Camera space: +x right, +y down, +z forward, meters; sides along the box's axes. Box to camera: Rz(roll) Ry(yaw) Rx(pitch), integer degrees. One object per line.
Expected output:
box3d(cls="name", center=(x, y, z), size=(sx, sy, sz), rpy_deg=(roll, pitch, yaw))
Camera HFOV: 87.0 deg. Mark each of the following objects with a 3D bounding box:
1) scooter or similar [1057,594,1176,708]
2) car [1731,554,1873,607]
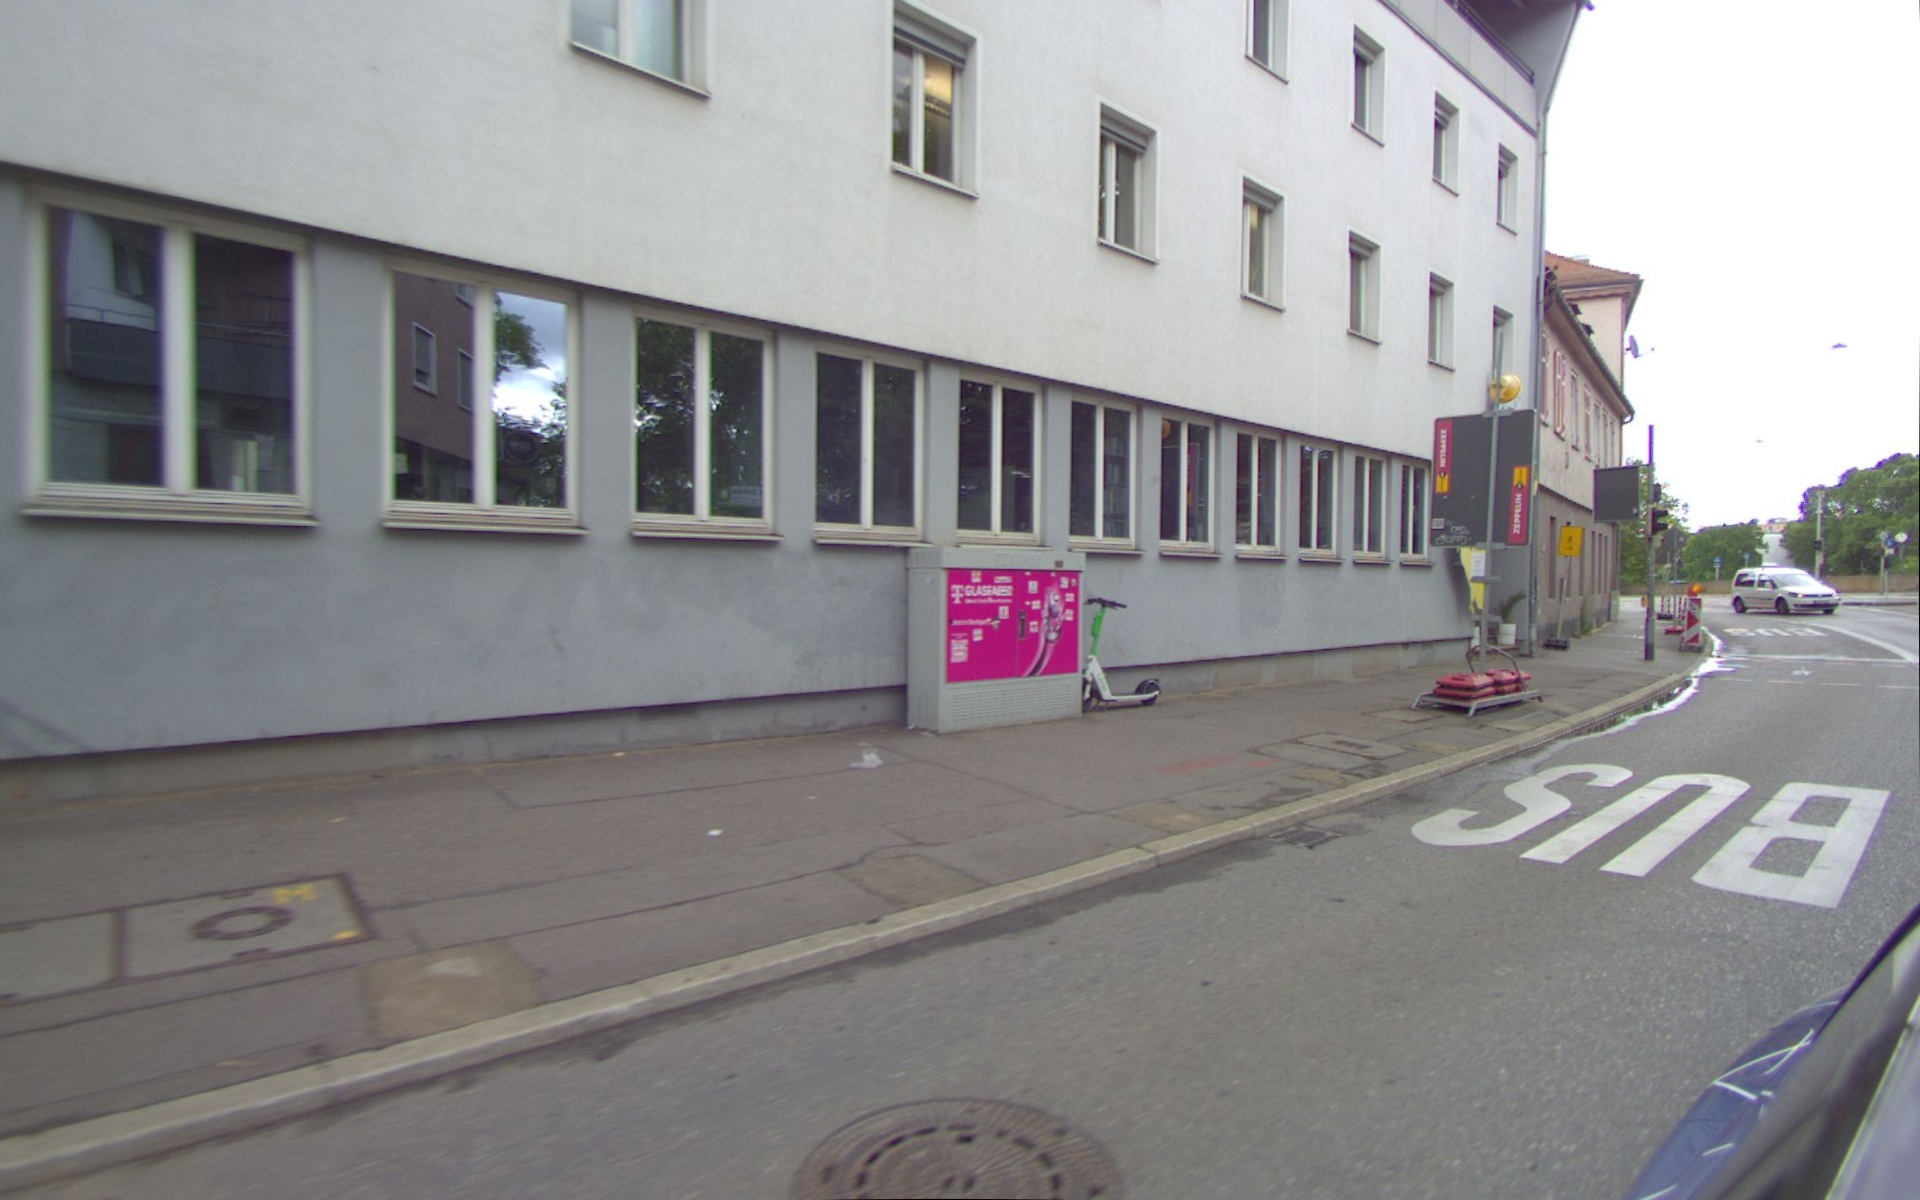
box3d(cls="scooter or similar", center=(1.664, 0.500, 10.625), size=(1.415, 1.110, 0.429), rpy_deg=(0, 2, -43))
box3d(cls="car", center=(32.717, -0.796, 39.538), size=(2.038, 1.807, 4.452), rpy_deg=(-4, 2, 6))
